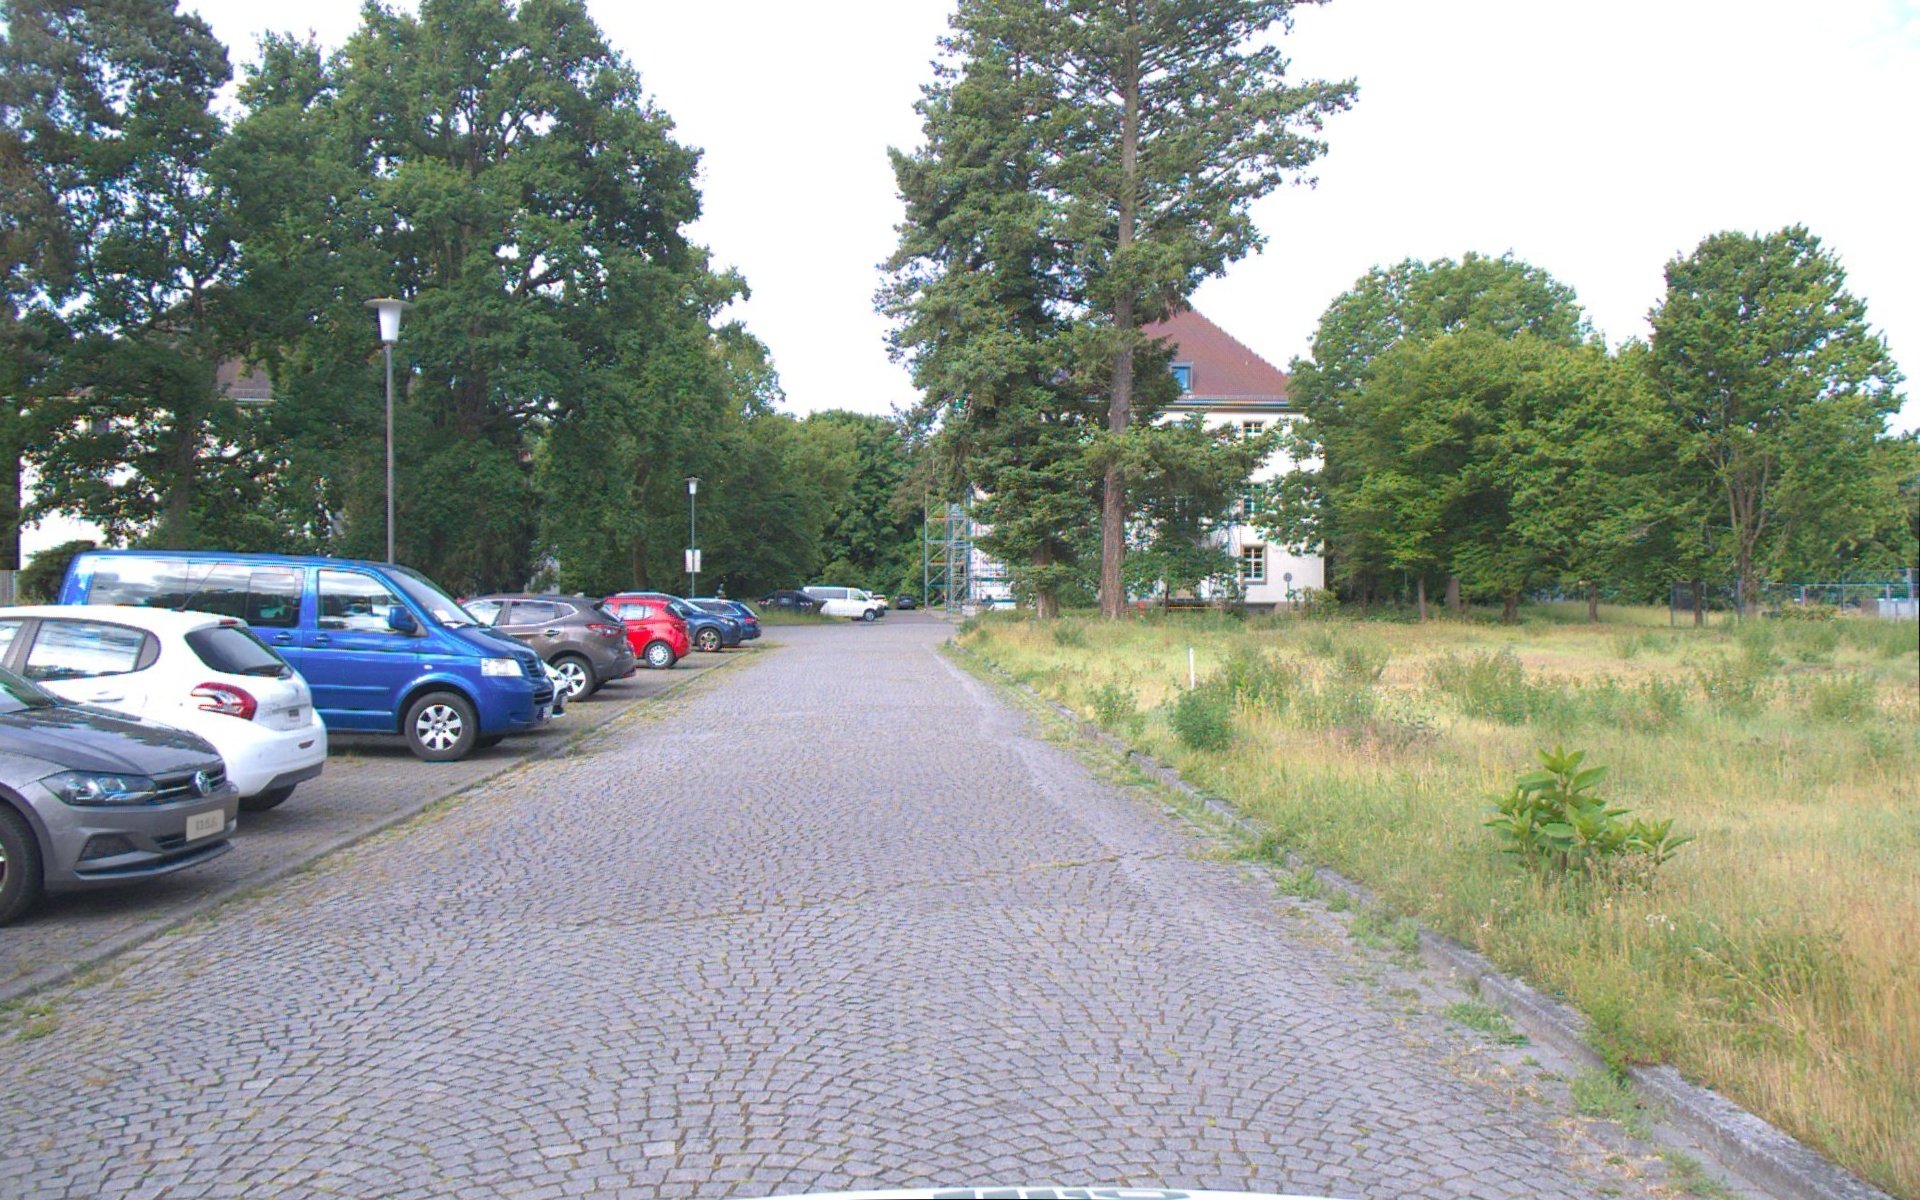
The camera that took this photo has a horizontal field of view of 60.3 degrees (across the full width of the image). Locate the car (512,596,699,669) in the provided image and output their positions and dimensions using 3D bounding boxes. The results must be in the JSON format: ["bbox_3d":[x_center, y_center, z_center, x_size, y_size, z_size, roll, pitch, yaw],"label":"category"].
[{"bbox_3d":[-7.661,0.695,36.039,3.740,1.515,1.786,0,0,-4],"label":"car"}]

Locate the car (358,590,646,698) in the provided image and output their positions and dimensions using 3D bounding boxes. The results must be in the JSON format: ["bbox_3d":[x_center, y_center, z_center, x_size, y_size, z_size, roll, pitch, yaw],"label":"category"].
[{"bbox_3d":[-7.028,0.661,25.750,3.988,1.602,1.953,0,0,-5],"label":"car"}]

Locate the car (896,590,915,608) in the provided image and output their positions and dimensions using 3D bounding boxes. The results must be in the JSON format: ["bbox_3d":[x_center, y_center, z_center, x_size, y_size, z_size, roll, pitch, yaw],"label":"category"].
[{"bbox_3d":[-5.522,-0.091,166.608,1.755,1.750,4.057,0,-1,-5],"label":"car"}]

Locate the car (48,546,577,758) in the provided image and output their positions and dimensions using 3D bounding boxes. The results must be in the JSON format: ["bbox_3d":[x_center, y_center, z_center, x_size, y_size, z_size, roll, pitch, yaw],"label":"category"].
[{"bbox_3d":[-6.428,0.495,16.904,4.616,2.015,2.037,0,0,-4],"label":"car"}]

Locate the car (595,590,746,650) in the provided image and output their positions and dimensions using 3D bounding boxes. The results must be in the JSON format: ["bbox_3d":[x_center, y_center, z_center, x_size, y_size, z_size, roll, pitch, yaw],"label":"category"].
[{"bbox_3d":[-8.050,0.552,46.279,3.991,1.632,1.786,0,0,-5],"label":"car"}]

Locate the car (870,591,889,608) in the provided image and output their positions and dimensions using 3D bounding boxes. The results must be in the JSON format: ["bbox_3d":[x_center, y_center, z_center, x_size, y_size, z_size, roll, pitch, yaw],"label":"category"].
[{"bbox_3d":[-8.073,-0.037,166.133,1.755,1.665,4.057,0,-1,-5],"label":"car"}]

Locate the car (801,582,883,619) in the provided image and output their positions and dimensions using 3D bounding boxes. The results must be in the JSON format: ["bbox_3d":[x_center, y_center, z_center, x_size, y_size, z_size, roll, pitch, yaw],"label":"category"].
[{"bbox_3d":[-7.120,0.054,100.066,4.880,2.109,2.050,1,-1,-5],"label":"car"}]

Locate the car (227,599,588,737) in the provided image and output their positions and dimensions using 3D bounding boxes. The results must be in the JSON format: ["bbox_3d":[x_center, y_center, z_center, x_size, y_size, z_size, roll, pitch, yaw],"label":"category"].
[{"bbox_3d":[-6.401,0.767,19.492,3.720,1.519,1.724,0,0,-6],"label":"car"}]

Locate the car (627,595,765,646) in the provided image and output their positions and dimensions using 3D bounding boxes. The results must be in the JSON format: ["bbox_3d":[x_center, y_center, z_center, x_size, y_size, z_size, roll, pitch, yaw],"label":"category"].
[{"bbox_3d":[-8.105,0.619,50.978,3.987,1.493,1.626,0,0,0],"label":"car"}]

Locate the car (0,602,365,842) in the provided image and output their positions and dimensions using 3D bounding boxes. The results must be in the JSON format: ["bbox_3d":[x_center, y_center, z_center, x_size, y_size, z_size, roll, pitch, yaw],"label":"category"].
[{"bbox_3d":[-6.469,0.790,11.596,3.924,1.528,1.842,0,0,-2],"label":"car"}]

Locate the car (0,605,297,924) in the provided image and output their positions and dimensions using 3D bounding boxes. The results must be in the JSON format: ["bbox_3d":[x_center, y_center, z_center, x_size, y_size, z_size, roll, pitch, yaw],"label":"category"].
[{"bbox_3d":[-5.978,0.786,8.757,4.217,1.506,1.730,0,0,-2],"label":"car"}]

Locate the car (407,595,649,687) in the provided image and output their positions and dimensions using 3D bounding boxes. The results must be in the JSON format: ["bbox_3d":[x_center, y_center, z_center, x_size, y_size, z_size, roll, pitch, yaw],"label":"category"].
[{"bbox_3d":[-7.382,0.679,28.519,3.740,1.512,1.760,0,0,-4],"label":"car"}]
